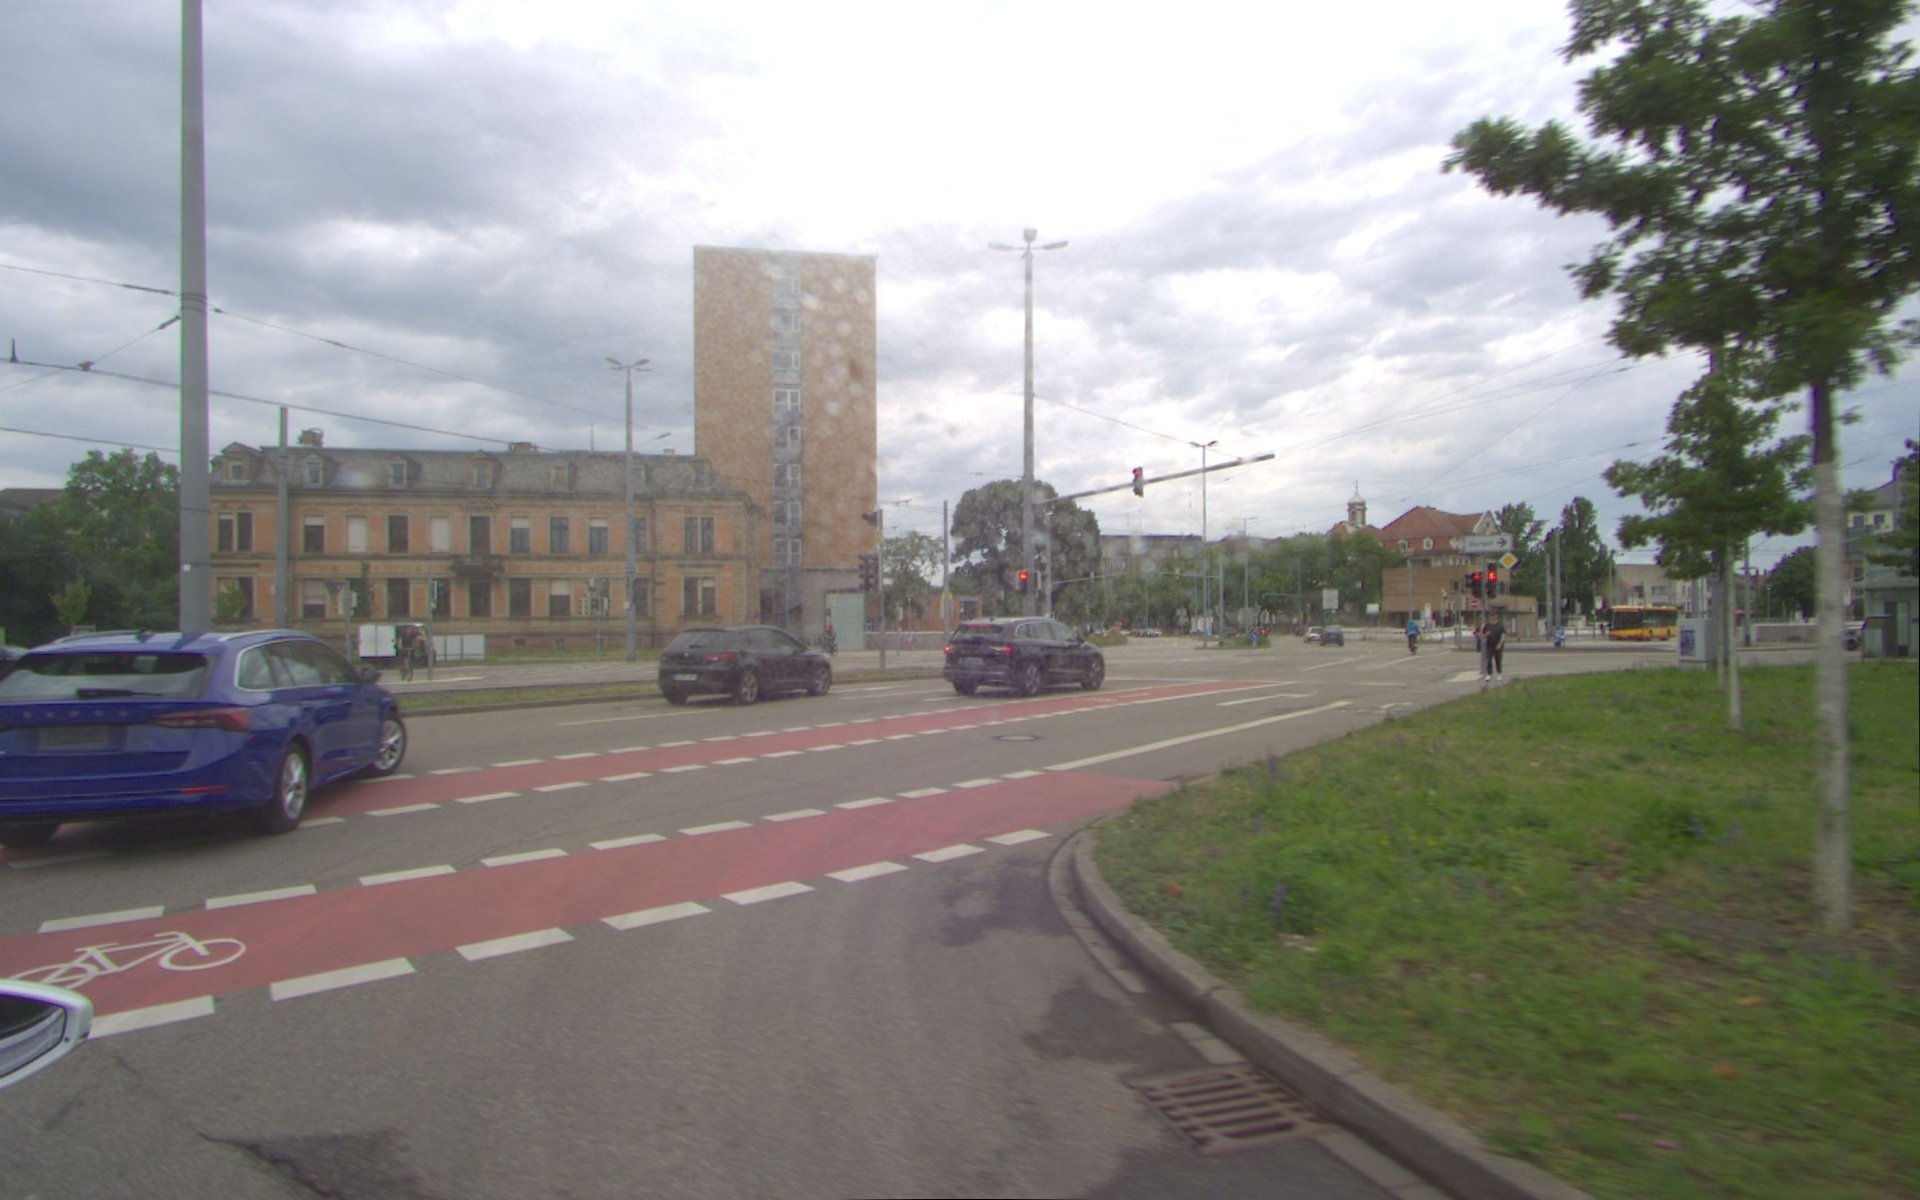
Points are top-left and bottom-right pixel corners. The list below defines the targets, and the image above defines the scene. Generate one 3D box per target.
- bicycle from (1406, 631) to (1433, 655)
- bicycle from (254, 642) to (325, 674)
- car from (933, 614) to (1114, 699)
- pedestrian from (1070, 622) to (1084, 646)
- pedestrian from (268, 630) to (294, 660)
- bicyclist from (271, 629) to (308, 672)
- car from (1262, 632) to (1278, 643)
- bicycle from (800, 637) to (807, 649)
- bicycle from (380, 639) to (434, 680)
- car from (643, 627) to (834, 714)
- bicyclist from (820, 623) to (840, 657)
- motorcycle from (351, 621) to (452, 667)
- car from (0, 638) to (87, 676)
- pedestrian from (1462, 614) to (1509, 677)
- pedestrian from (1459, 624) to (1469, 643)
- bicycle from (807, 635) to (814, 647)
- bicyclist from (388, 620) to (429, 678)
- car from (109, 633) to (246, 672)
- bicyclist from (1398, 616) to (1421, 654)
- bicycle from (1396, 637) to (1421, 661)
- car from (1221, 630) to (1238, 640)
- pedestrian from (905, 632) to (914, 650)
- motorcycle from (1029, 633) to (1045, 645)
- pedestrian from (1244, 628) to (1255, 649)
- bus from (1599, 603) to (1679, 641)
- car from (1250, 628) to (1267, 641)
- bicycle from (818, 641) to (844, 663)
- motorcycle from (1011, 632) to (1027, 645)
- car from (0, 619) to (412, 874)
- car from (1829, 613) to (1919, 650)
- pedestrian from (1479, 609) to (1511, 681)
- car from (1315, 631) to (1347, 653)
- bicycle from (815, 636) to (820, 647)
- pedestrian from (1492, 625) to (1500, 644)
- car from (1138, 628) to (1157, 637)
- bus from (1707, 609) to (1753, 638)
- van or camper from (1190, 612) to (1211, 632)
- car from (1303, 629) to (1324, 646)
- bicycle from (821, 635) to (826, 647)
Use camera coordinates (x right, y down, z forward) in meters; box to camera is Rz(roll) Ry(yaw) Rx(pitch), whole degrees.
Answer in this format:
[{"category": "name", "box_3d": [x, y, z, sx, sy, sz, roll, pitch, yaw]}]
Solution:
[{"category": "bicycle", "box_3d": [23.996, 2.245, 52.319, 0.878, 1.193, 2.300, 0, -1, 14]}, {"category": "bicycle", "box_3d": [-26.159, 2.264, 39.082, 2.155, 1.223, 0.858, -1, -2, -4]}, {"category": "car", "box_3d": [1.477, 1.147, 21.530, 1.760, 1.617, 4.480, -1, -2, 37]}, {"category": "pedestrian", "box_3d": [9.518, 2.762, 81.358, 1.011, 1.959, 0.701, -1, -1, 11]}, {"category": "pedestrian", "box_3d": [-40.507, 2.662, 59.744, 1.107, 1.786, 0.757, 0, -1, -17]}, {"category": "bicyclist", "box_3d": [-26.156, 1.964, 39.093, 0.900, 1.643, 0.855, -1, -2, -4]}, {"category": "car", "box_3d": [40.794, 4.930, 131.977, 1.749, 1.483, 3.997, 0, -1, 14]}, {"category": "bicycle", "box_3d": [-15.048, 4.097, 96.289, 0.561, 1.120, 1.428, 0, -1, -7]}, {"category": "bicycle", "box_3d": [-18.010, 1.934, 32.591, 1.976, 1.258, 0.810, -3, -2, 38]}, {"category": "car", "box_3d": [-4.067, 1.243, 19.035, 1.681, 1.467, 3.803, -1, -1, 23]}, {"category": "bicyclist", "box_3d": [-7.411, 2.264, 57.312, 0.816, 1.916, 1.049, -2, -1, 10]}, {"category": "motorcycle", "box_3d": [-25.146, 1.977, 45.196, 3.616, 2.039, 1.696, 0, -1, -6]}, {"category": "car", "box_3d": [-37.749, 2.286, 40.129, 4.062, 1.467, 1.697, 0, -1, 0]}, {"category": "pedestrian", "box_3d": [16.320, 1.411, 31.124, 1.083, 1.931, 0.735, 1, -1, -7]}, {"category": "pedestrian", "box_3d": [50.453, 3.368, 100.293, 0.703, 1.943, 0.618, -1, -1, 43]}, {"category": "bicycle", "box_3d": [-14.394, 3.967, 96.407, 0.561, 1.120, 1.428, 0, -1, -7]}, {"category": "bicyclist", "box_3d": [-17.906, 1.589, 32.519, 1.017, 1.822, 0.810, -1, 0, 38]}, {"category": "car", "box_3d": [-31.650, 2.114, 40.591, 4.080, 1.472, 1.762, 0, -1, -4]}, {"category": "bicyclist", "box_3d": [22.303, 1.747, 49.711, 0.862, 1.875, 1.042, -2, -1, 32]}, {"category": "bicycle", "box_3d": [22.202, 2.398, 49.535, 0.856, 1.119, 2.291, -1, -1, 31]}, {"category": "car", "box_3d": [41.832, 5.394, 155.567, 1.747, 1.483, 4.001, 0, -1, 4]}, {"category": "pedestrian", "box_3d": [-3.796, 3.081, 75.425, 0.563, 1.353, 0.498, 0, -1, -14]}, {"category": "motorcycle", "box_3d": [7.711, 3.905, 99.836, 1.726, 1.125, 0.507, 1, -1, -42]}, {"category": "pedestrian", "box_3d": [21.170, 2.830, 73.239, 0.717, 1.561, 0.416, -1, -1, 24]}, {"category": "bus", "box_3d": [60.545, 1.983, 89.116, 11.411, 3.163, 2.946, 1, -2, -40]}, {"category": "car", "box_3d": [35.327, 4.033, 118.659, 1.749, 1.483, 3.997, 0, -1, 14]}, {"category": "bicycle", "box_3d": [-7.368, 2.959, 57.427, 0.811, 1.223, 2.234, -2, -2, 10]}, {"category": "motorcycle", "box_3d": [5.841, 3.775, 98.840, 1.445, 1.284, 0.511, 0, -1, -10]}, {"category": "car", "box_3d": [-5.975, 0.954, 8.176, 1.754, 1.507, 4.459, 0, -2, -17]}, {"category": "car", "box_3d": [42.665, 1.453, 45.756, 4.149, 1.661, 1.803, 0, -1, 9]}, {"category": "pedestrian", "box_3d": [14.078, 1.170, 26.335, 0.531, 1.867, 0.979, -1, -1, 40]}, {"category": "car", "box_3d": [29.517, 3.384, 79.758, 1.963, 1.705, 3.999, 0, -3, 14]}, {"category": "bicycle", "box_3d": [-13.744, 3.970, 96.488, 0.500, 1.062, 1.428, 0, -1, -7]}, {"category": "pedestrian", "box_3d": [55.800, 3.597, 104.243, 0.616, 1.943, 0.705, -1, -1, 39]}, {"category": "car", "box_3d": [32.181, 5.577, 171.870, 1.749, 1.483, 3.997, 0, -2, -12]}, {"category": "bus", "box_3d": [91.682, 2.768, 119.190, 10.885, 3.325, 2.638, 1, -2, -43]}, {"category": "van or camper", "box_3d": [38.764, 3.602, 161.578, 2.349, 3.164, 5.505, 0, -1, 2]}, {"category": "car", "box_3d": [32.580, 3.431, 92.290, 1.750, 1.483, 3.993, 0, -1, 19]}, {"category": "bicycle", "box_3d": [-13.170, 3.950, 96.616, 0.473, 1.062, 1.428, 0, -1, -7]}]
